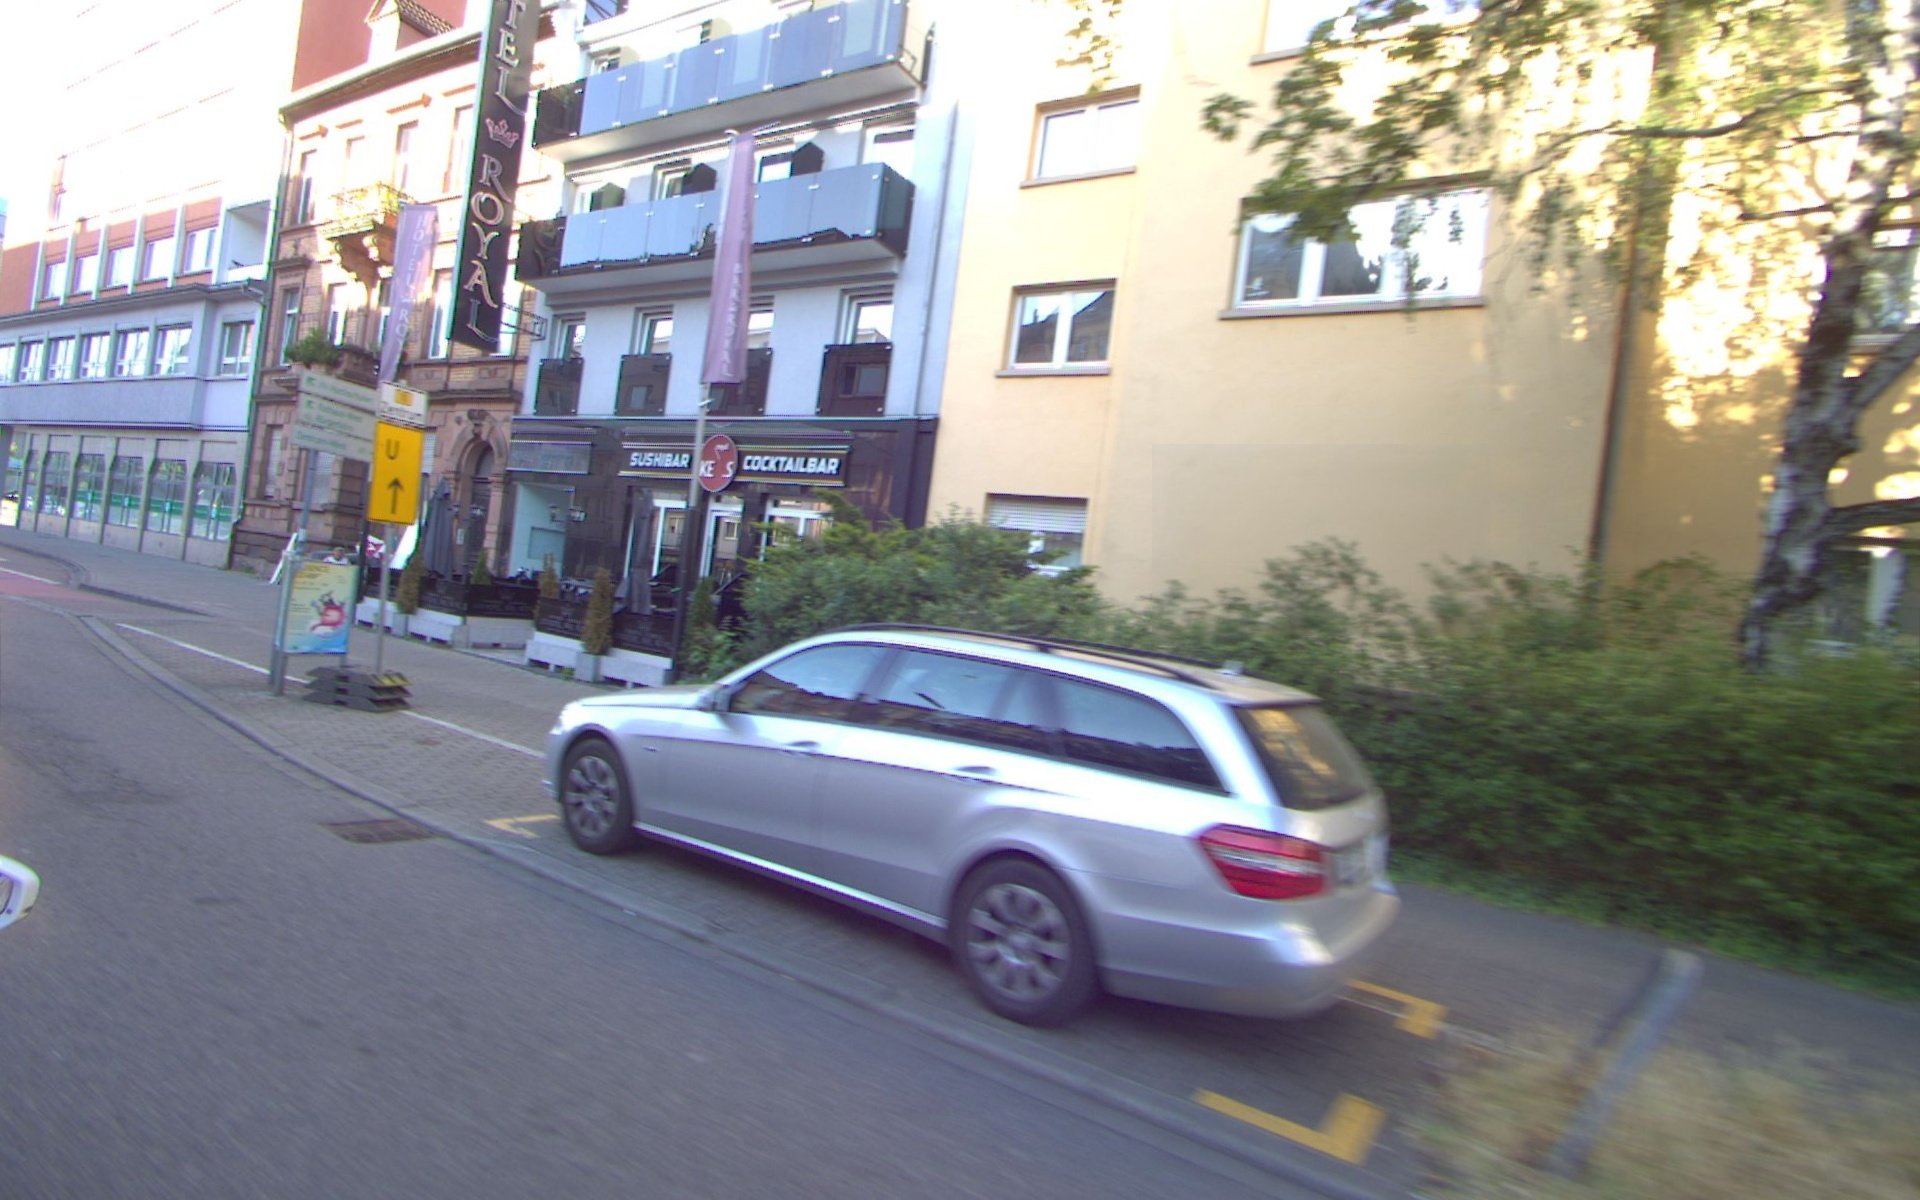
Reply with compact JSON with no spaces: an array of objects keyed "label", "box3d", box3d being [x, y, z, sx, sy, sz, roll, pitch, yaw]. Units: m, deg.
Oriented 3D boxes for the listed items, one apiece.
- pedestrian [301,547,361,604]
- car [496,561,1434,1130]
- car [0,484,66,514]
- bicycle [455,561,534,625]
[{"label":"pedestrian","box3d":[-13.401,-0.528,21.444,0.930,1.056,0.691,7,0,36]},{"label":"car","box3d":[-0.252,0.832,5.464,4.757,1.531,1.856,7,1,35]},{"label":"car","box3d":[-73.298,-7.987,78.998,1.968,1.633,4.233,7,-1,34]},{"label":"bicycle","box3d":[-8.873,-0.129,19.225,0.479,1.125,1.425,8,2,15]}]
